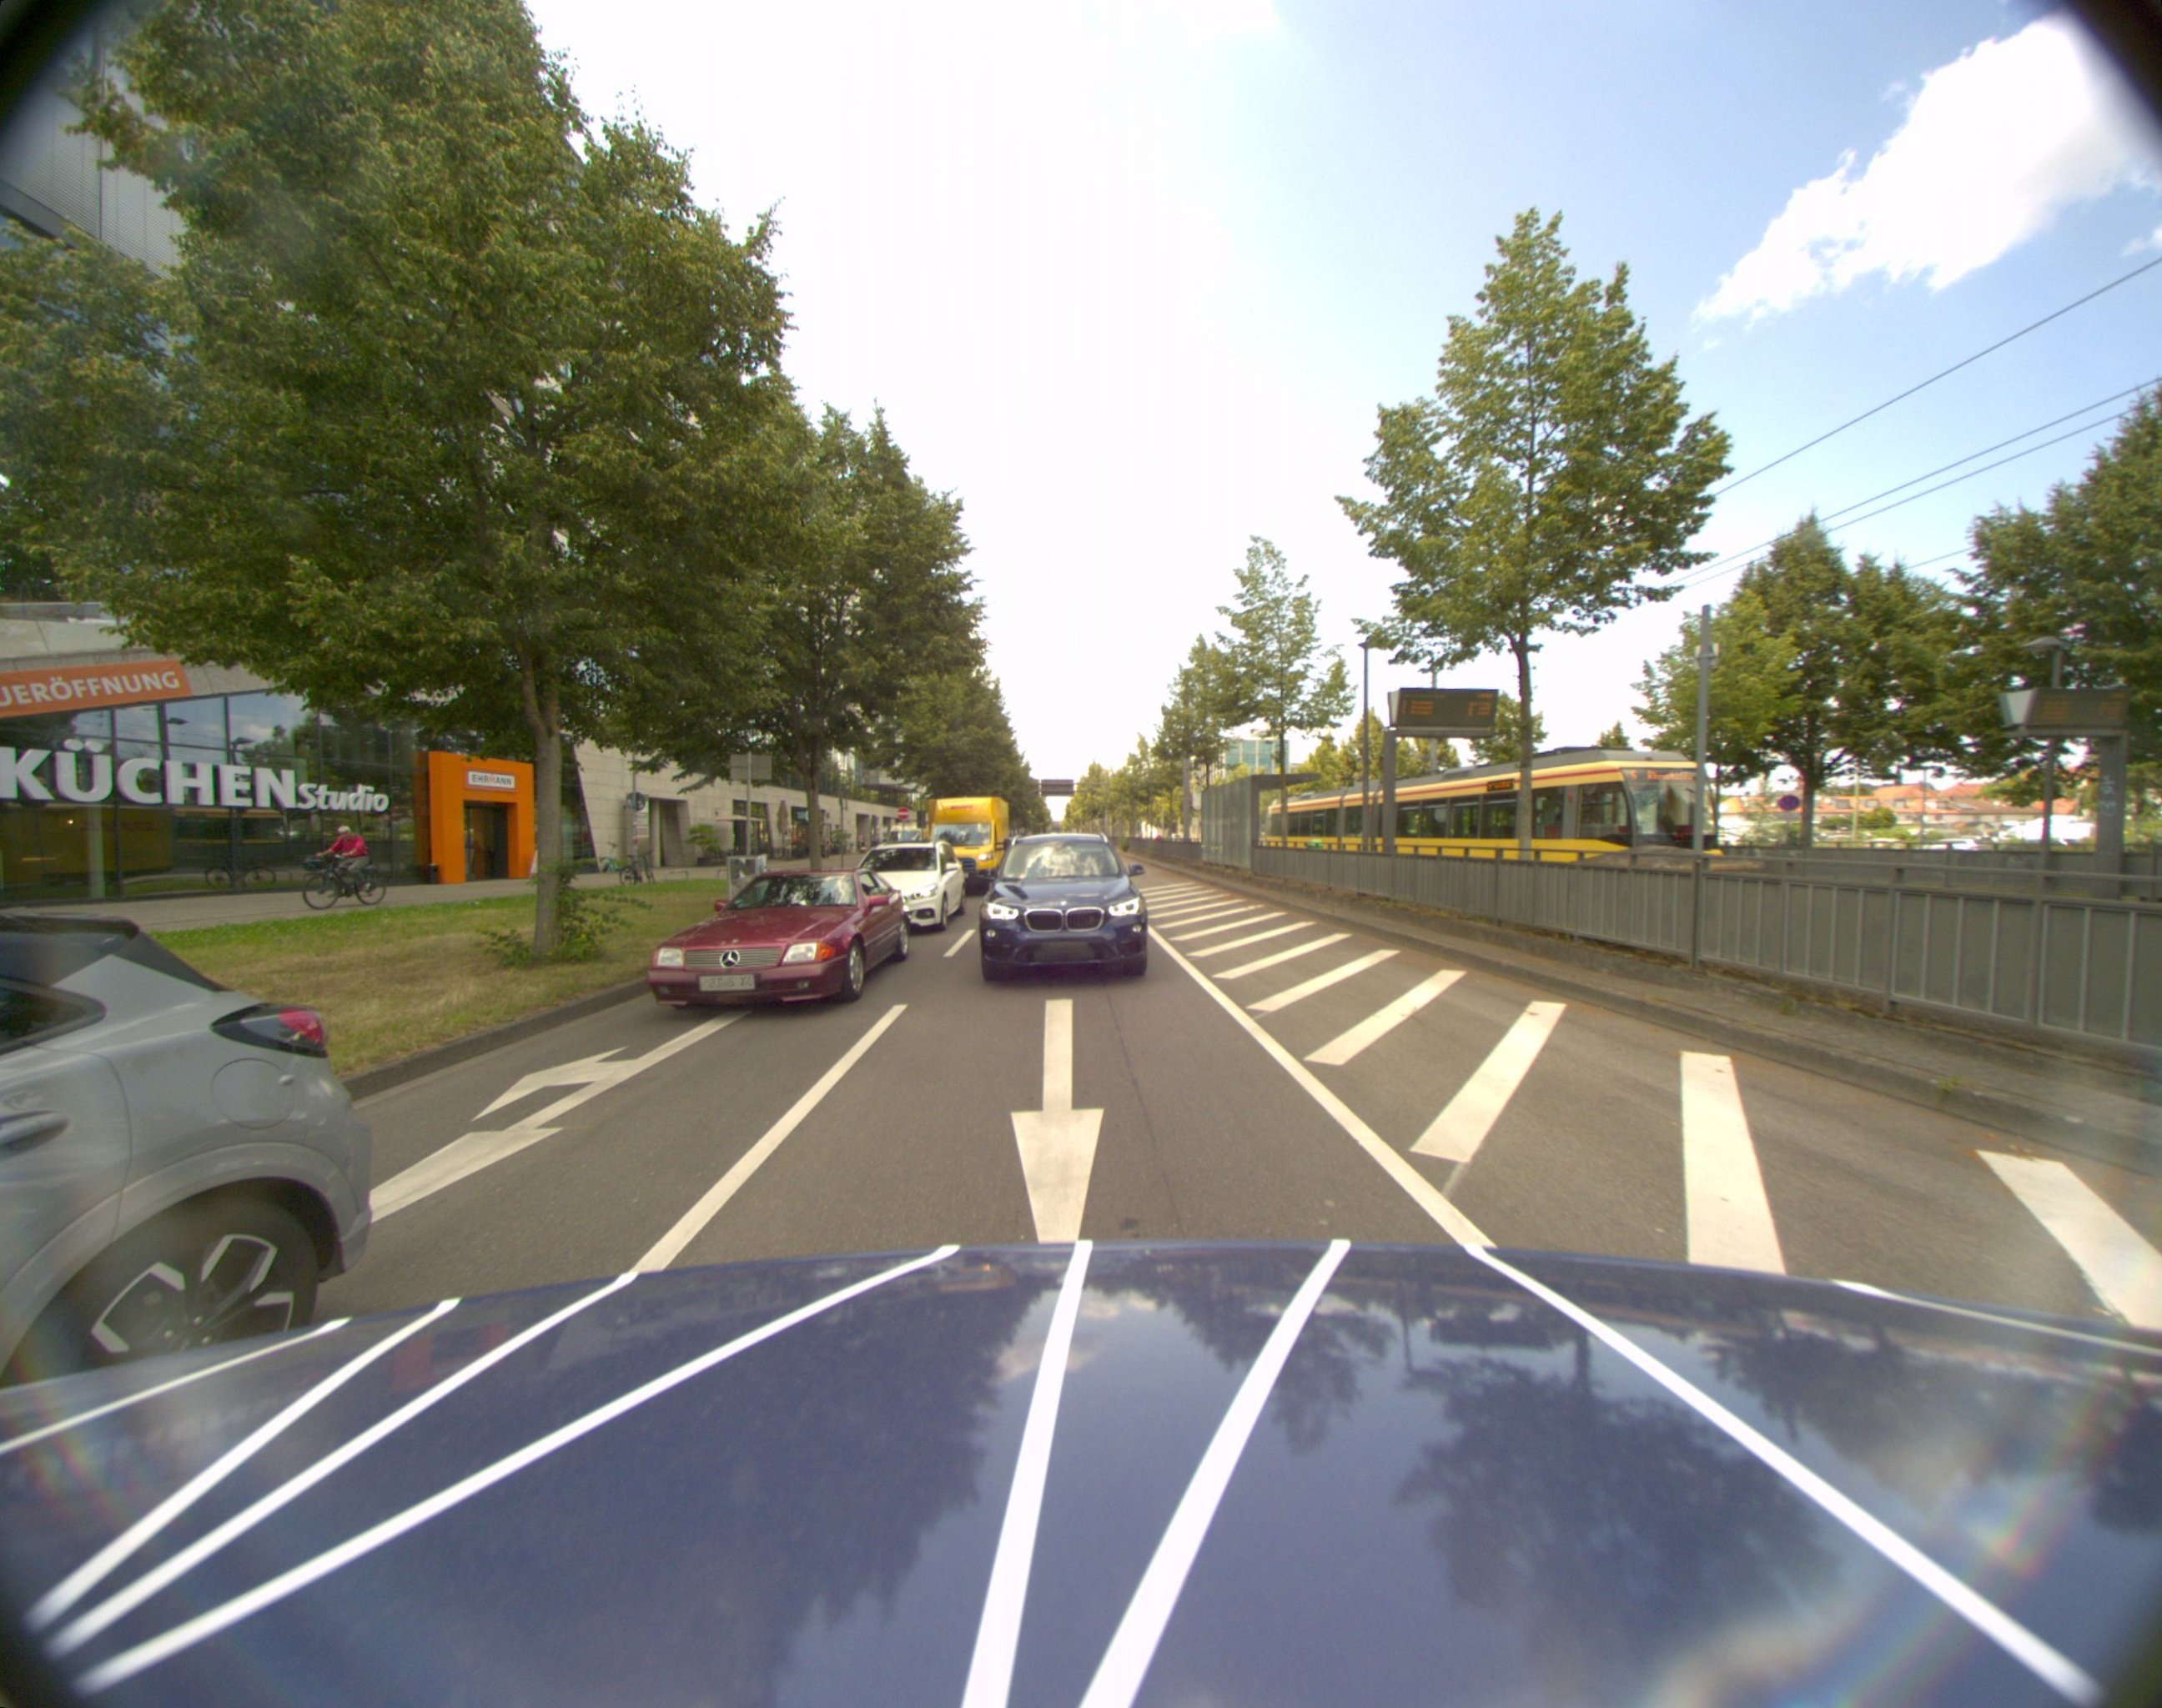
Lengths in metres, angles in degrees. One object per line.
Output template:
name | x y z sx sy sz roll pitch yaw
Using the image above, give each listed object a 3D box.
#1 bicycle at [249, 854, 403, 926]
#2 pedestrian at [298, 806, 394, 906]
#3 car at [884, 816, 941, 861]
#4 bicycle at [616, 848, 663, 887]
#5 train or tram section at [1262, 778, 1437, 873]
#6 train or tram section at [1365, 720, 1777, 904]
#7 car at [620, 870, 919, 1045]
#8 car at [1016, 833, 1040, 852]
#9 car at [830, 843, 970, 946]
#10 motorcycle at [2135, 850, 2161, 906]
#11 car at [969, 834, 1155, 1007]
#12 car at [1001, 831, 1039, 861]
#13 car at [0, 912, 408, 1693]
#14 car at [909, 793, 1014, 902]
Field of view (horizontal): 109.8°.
bicycle | -15.252 0.676 15.472 0.812 1.237 2.409 2 2 -3
pedestrian | -15.267 0.034 15.826 0.754 2.002 1.231 0 2 -4
car | -9.782 -0.925 44.570 2.162 2.380 6.274 -2 2 -3
bicycle | -13.276 0.387 22.887 0.516 1.082 1.747 0 1 -5
train or tram section | 11.961 -1.238 36.272 2.694 3.618 14.657 0 1 -2
train or tram section | 12.448 -0.993 22.114 2.850 3.719 13.470 0 1 -2
car | -3.045 0.912 8.429 1.674 1.254 4.091 -2 1 -1
car | -4.917 -1.119 70.570 1.823 1.642 3.999 -2 2 1
car | -3.227 0.628 14.352 1.674 1.589 4.126 -2 1 -1
motorcycle | 19.611 0.445 12.829 0.572 0.988 2.194 0 1 0
car | -0.234 0.604 9.576 1.774 1.590 4.125 -2 2 -1
car | -3.753 -0.530 47.644 1.999 1.751 4.294 -2 2 0
car | -2.991 0.982 0.354 1.674 1.463 4.090 0 2 0
car | -3.502 -0.290 23.974 2.284 2.837 7.252 -2 2 -2
